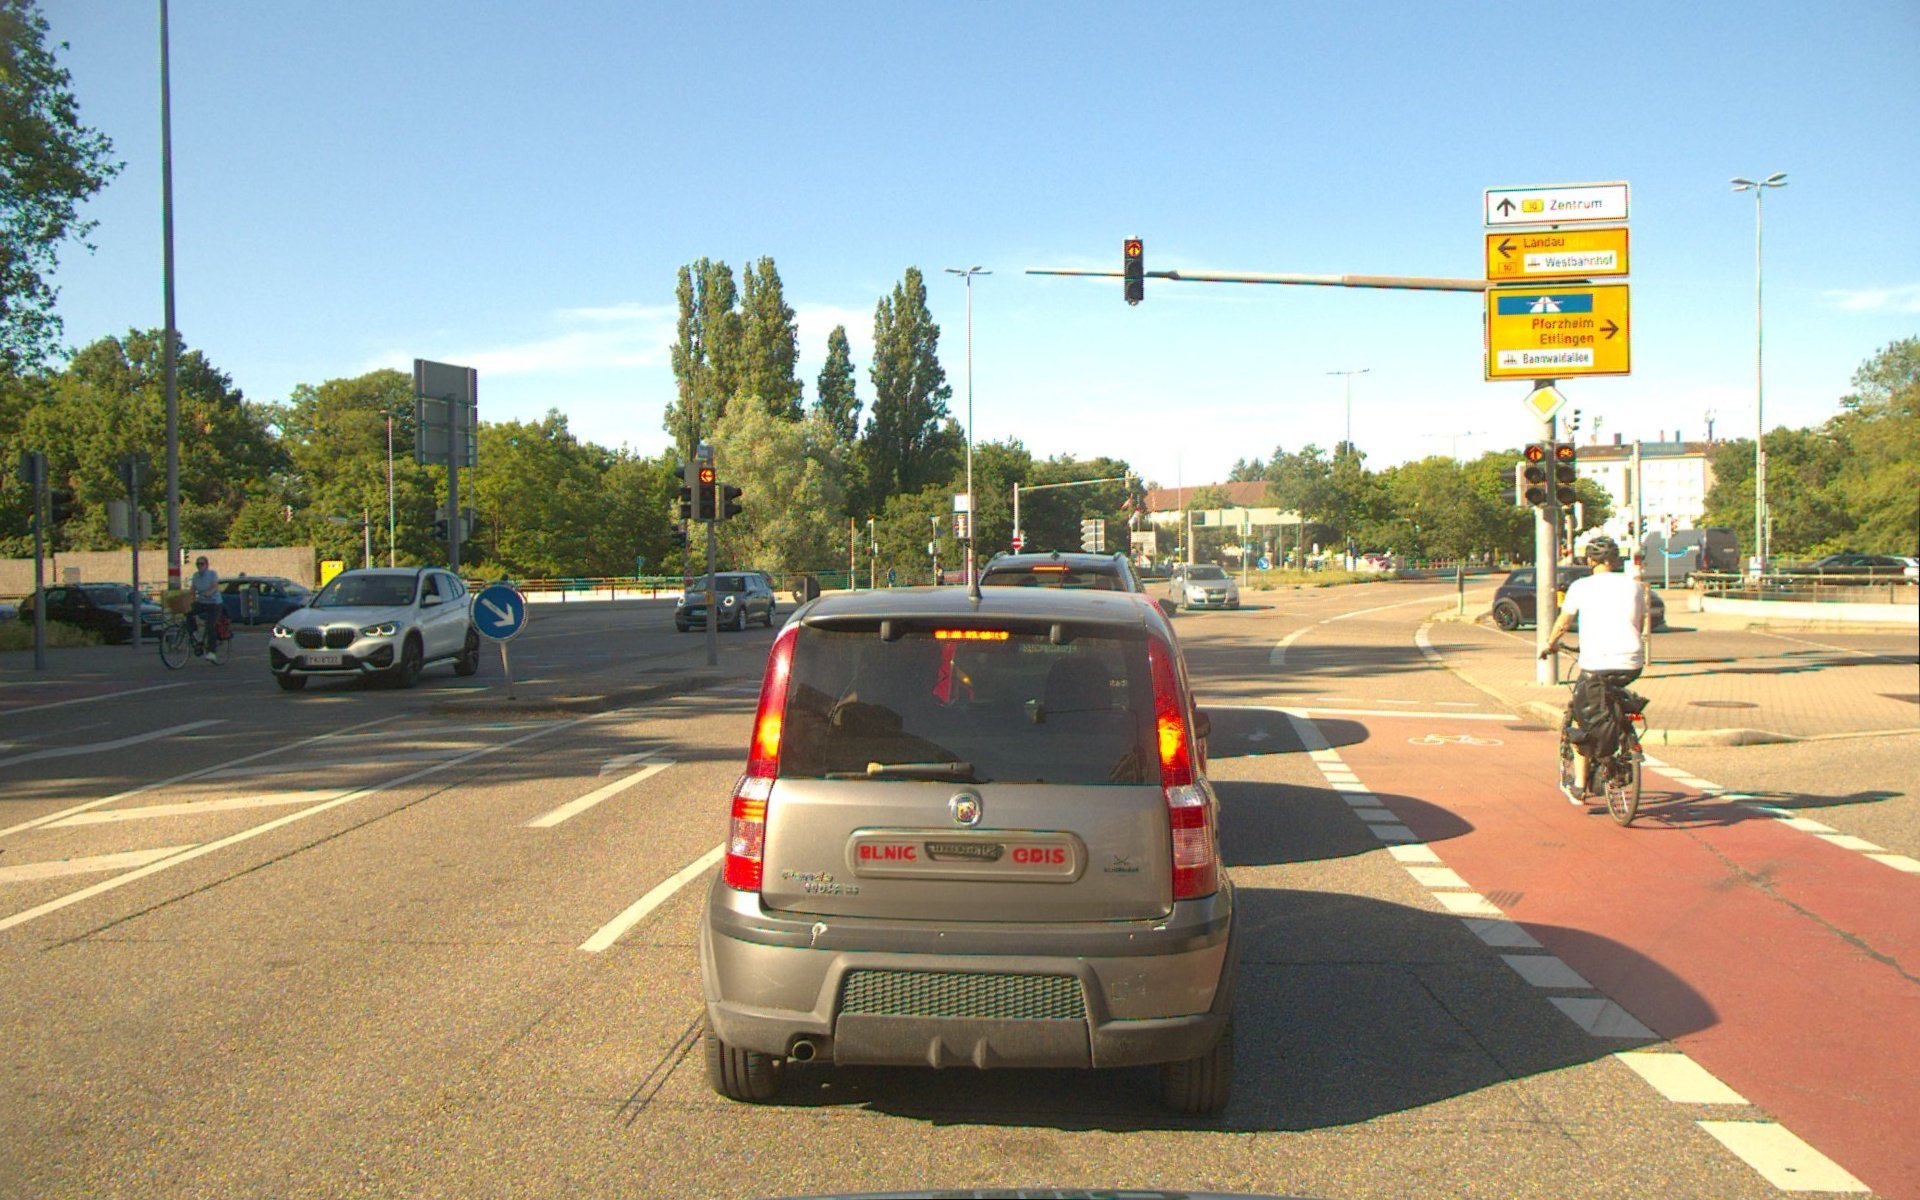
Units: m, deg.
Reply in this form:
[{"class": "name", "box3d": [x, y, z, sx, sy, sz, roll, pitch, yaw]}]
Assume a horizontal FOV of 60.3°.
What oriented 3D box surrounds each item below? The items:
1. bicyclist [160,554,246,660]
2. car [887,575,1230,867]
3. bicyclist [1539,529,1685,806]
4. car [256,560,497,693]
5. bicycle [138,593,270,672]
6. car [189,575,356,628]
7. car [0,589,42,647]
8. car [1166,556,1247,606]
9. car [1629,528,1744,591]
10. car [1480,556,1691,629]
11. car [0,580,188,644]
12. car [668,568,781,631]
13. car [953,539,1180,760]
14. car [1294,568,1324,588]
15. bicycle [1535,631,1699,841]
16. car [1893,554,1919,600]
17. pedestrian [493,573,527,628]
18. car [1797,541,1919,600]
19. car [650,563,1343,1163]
[{"class": "bicyclist", "box3d": [-12.658, 0.109, 27.694, 0.672, 1.731, 1.199, -1, 1, 15]}, {"class": "car", "box3d": [0.588, 0.621, 10.717, 1.782, 1.505, 4.001, 1, 0, 2]}, {"class": "bicyclist", "box3d": [4.318, 0.415, 11.028, 0.782, 1.734, 1.086, 1, 1, 17]}, {"class": "car", "box3d": [-8.216, 0.302, 23.766, 1.796, 1.682, 4.628, -1, 1, 0]}, {"class": "bicycle", "box3d": [-12.639, 0.517, 27.743, 0.672, 1.223, 2.329, -1, 1, 15]}, {"class": "car", "box3d": [-20.704, 0.034, 49.855, 4.341, 1.464, 1.828, -1, 1, 11]}, {"class": "car", "box3d": [-26.408, 0.489, 43.265, 4.345, 1.464, 1.826, -1, 1, 22]}, {"class": "car", "box3d": [8.019, -0.649, 54.213, 1.716, 1.519, 4.346, 0, 2, -4]}, {"class": "car", "box3d": [33.653, -1.822, 76.757, 2.219, 2.653, 4.861, 1, -1, -18]}, {"class": "car", "box3d": [13.683, -0.141, 36.368, 1.974, 1.478, 3.958, -2, 0, -31]}, {"class": "car", "box3d": [-21.013, 0.287, 39.917, 4.345, 1.464, 1.826, -1, 1, 22]}, {"class": "car", "box3d": [-5.975, -0.054, 42.367, 1.650, 1.482, 3.918, 0, 2, 11]}, {"class": "car", "box3d": [1.176, 0.367, 16.104, 1.829, 1.821, 4.418, 1, 1, 8]}, {"class": "car", "box3d": [35.750, -2.223, 169.446, 1.973, 1.887, 4.426, 0, -2, 26]}, {"class": "bicycle", "box3d": [4.285, 0.822, 10.944, 0.782, 1.130, 2.403, 1, 1, 17]}, {"class": "car", "box3d": [39.392, -0.912, 65.616, 3.922, 1.781, 1.991, -1, -2, 38]}, {"class": "pedestrian", "box3d": [-13.636, 0.035, 50.106, 0.673, 1.565, 1.365, 0, -4, -3]}, {"class": "car", "box3d": [33.205, -1.052, 60.935, 3.922, 2.049, 1.991, -1, -2, 38]}, {"class": "car", "box3d": [0.186, 0.656, 6.354, 1.782, 1.515, 4.002, 2, 1, 3]}]
